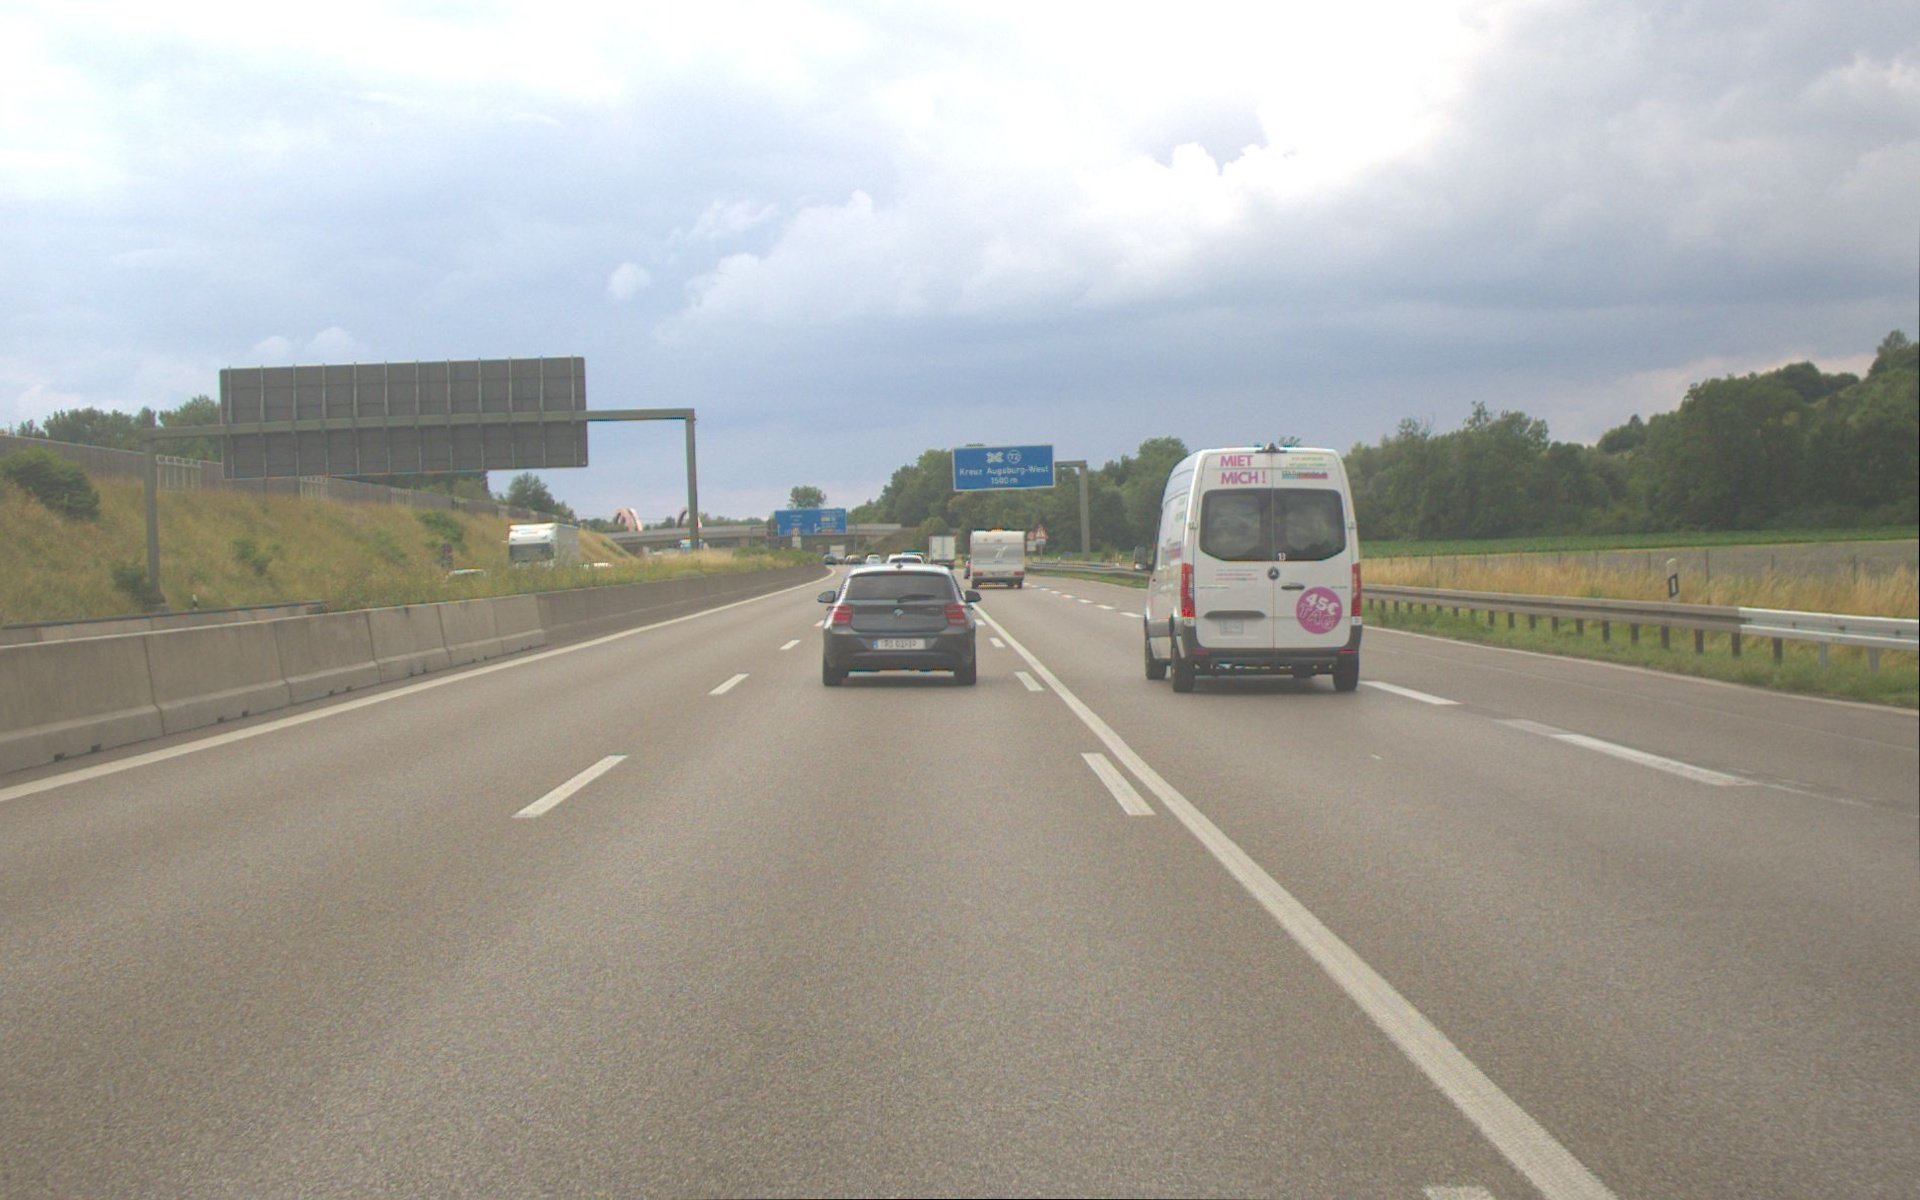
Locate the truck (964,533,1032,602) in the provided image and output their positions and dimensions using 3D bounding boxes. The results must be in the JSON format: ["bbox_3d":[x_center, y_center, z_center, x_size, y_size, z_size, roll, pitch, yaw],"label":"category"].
[{"bbox_3d":[1.659,-1.451,154.235,2.710,2.954,12.447,1,1,-1],"label":"truck"}]

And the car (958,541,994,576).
[{"bbox_3d":[0.947,-2.500,206.402,1.993,2.007,4.000,-1,1,-1],"label":"car"}]

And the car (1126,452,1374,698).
[{"bbox_3d":[3.192,-0.310,39.195,2.221,2.559,6.256,-1,1,0],"label":"car"}]

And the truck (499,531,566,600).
[{"bbox_3d":[-23.605,-1.908,190.043,2.726,3.665,7.490,-2,1,-1],"label":"truck"}]

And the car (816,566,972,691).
[{"bbox_3d":[-0.759,0.300,40.557,1.743,1.384,4.000,0,1,-1],"label":"car"}]

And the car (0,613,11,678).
[{"bbox_3d":[-21.132,0.970,70.572,1.993,1.359,4.941,1,1,-1],"label":"car"}]

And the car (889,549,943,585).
[{"bbox_3d":[-1.698,-1.272,131.622,1.993,1.294,4.000,-2,1,-1],"label":"car"}]
